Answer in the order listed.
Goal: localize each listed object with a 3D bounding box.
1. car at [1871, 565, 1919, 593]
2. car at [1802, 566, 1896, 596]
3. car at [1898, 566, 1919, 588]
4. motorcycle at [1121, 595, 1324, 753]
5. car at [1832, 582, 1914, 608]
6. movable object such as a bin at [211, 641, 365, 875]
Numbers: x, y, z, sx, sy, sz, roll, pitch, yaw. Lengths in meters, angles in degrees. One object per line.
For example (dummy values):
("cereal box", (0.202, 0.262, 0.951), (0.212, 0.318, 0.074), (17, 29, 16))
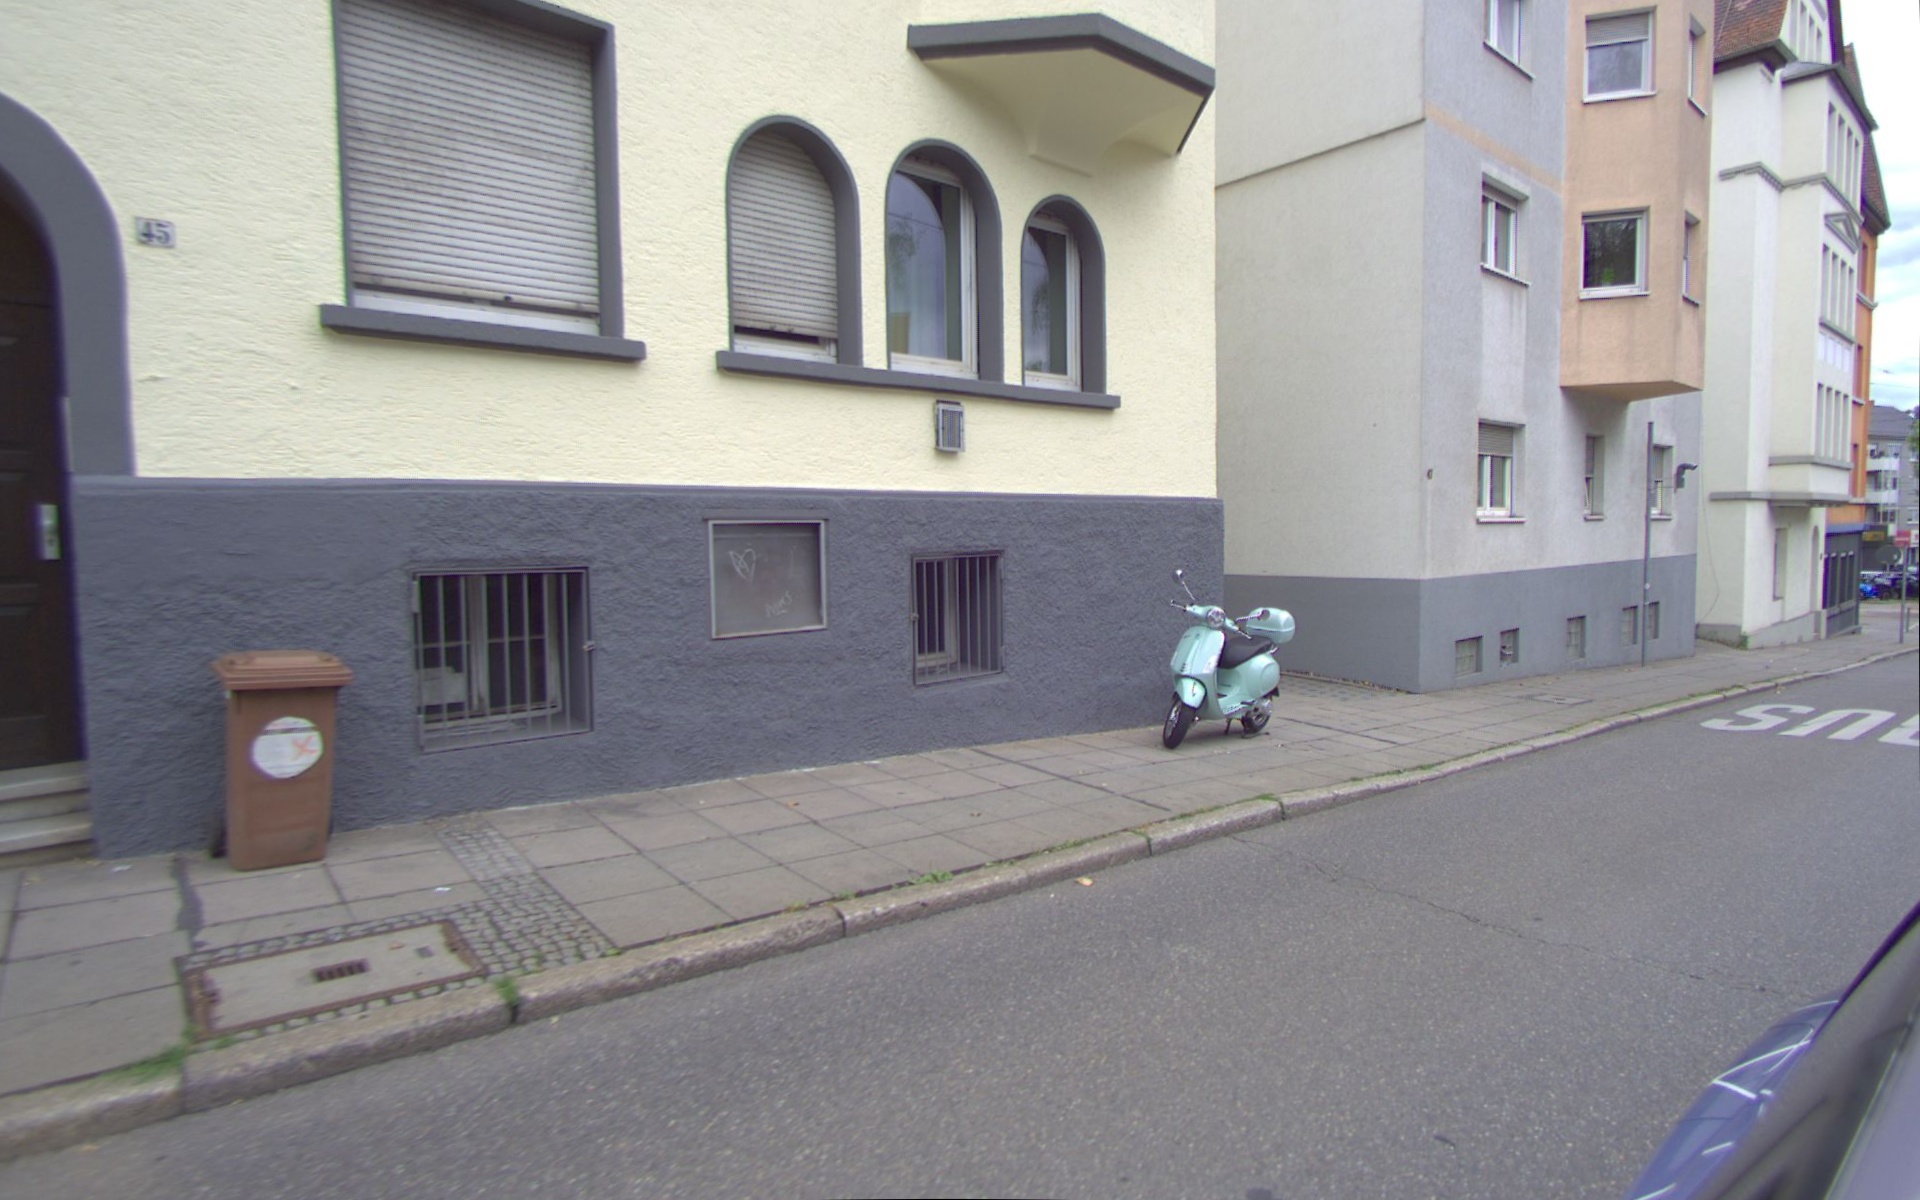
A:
("car", (66.269, -1.401, 70.409), (4.084, 1.625, 1.835), (3, 8, -7))
("car", (57.522, -1.244, 65.510), (1.796, 1.596, 4.258), (1, 4, -39))
("car", (73.765, -1.714, 76.623), (3.570, 1.571, 1.610), (2, 3, 23))
("motorcycle", (2.302, 0.566, 8.677), (2.189, 1.169, 0.538), (0, 4, -44))
("car", (61.170, -0.342, 67.837), (3.919, 1.495, 1.833), (3, 3, -7))
("movable object such as a bin", (-3.008, 0.670, 4.528), (0.508, 0.902, 0.476), (0, 4, -41))
